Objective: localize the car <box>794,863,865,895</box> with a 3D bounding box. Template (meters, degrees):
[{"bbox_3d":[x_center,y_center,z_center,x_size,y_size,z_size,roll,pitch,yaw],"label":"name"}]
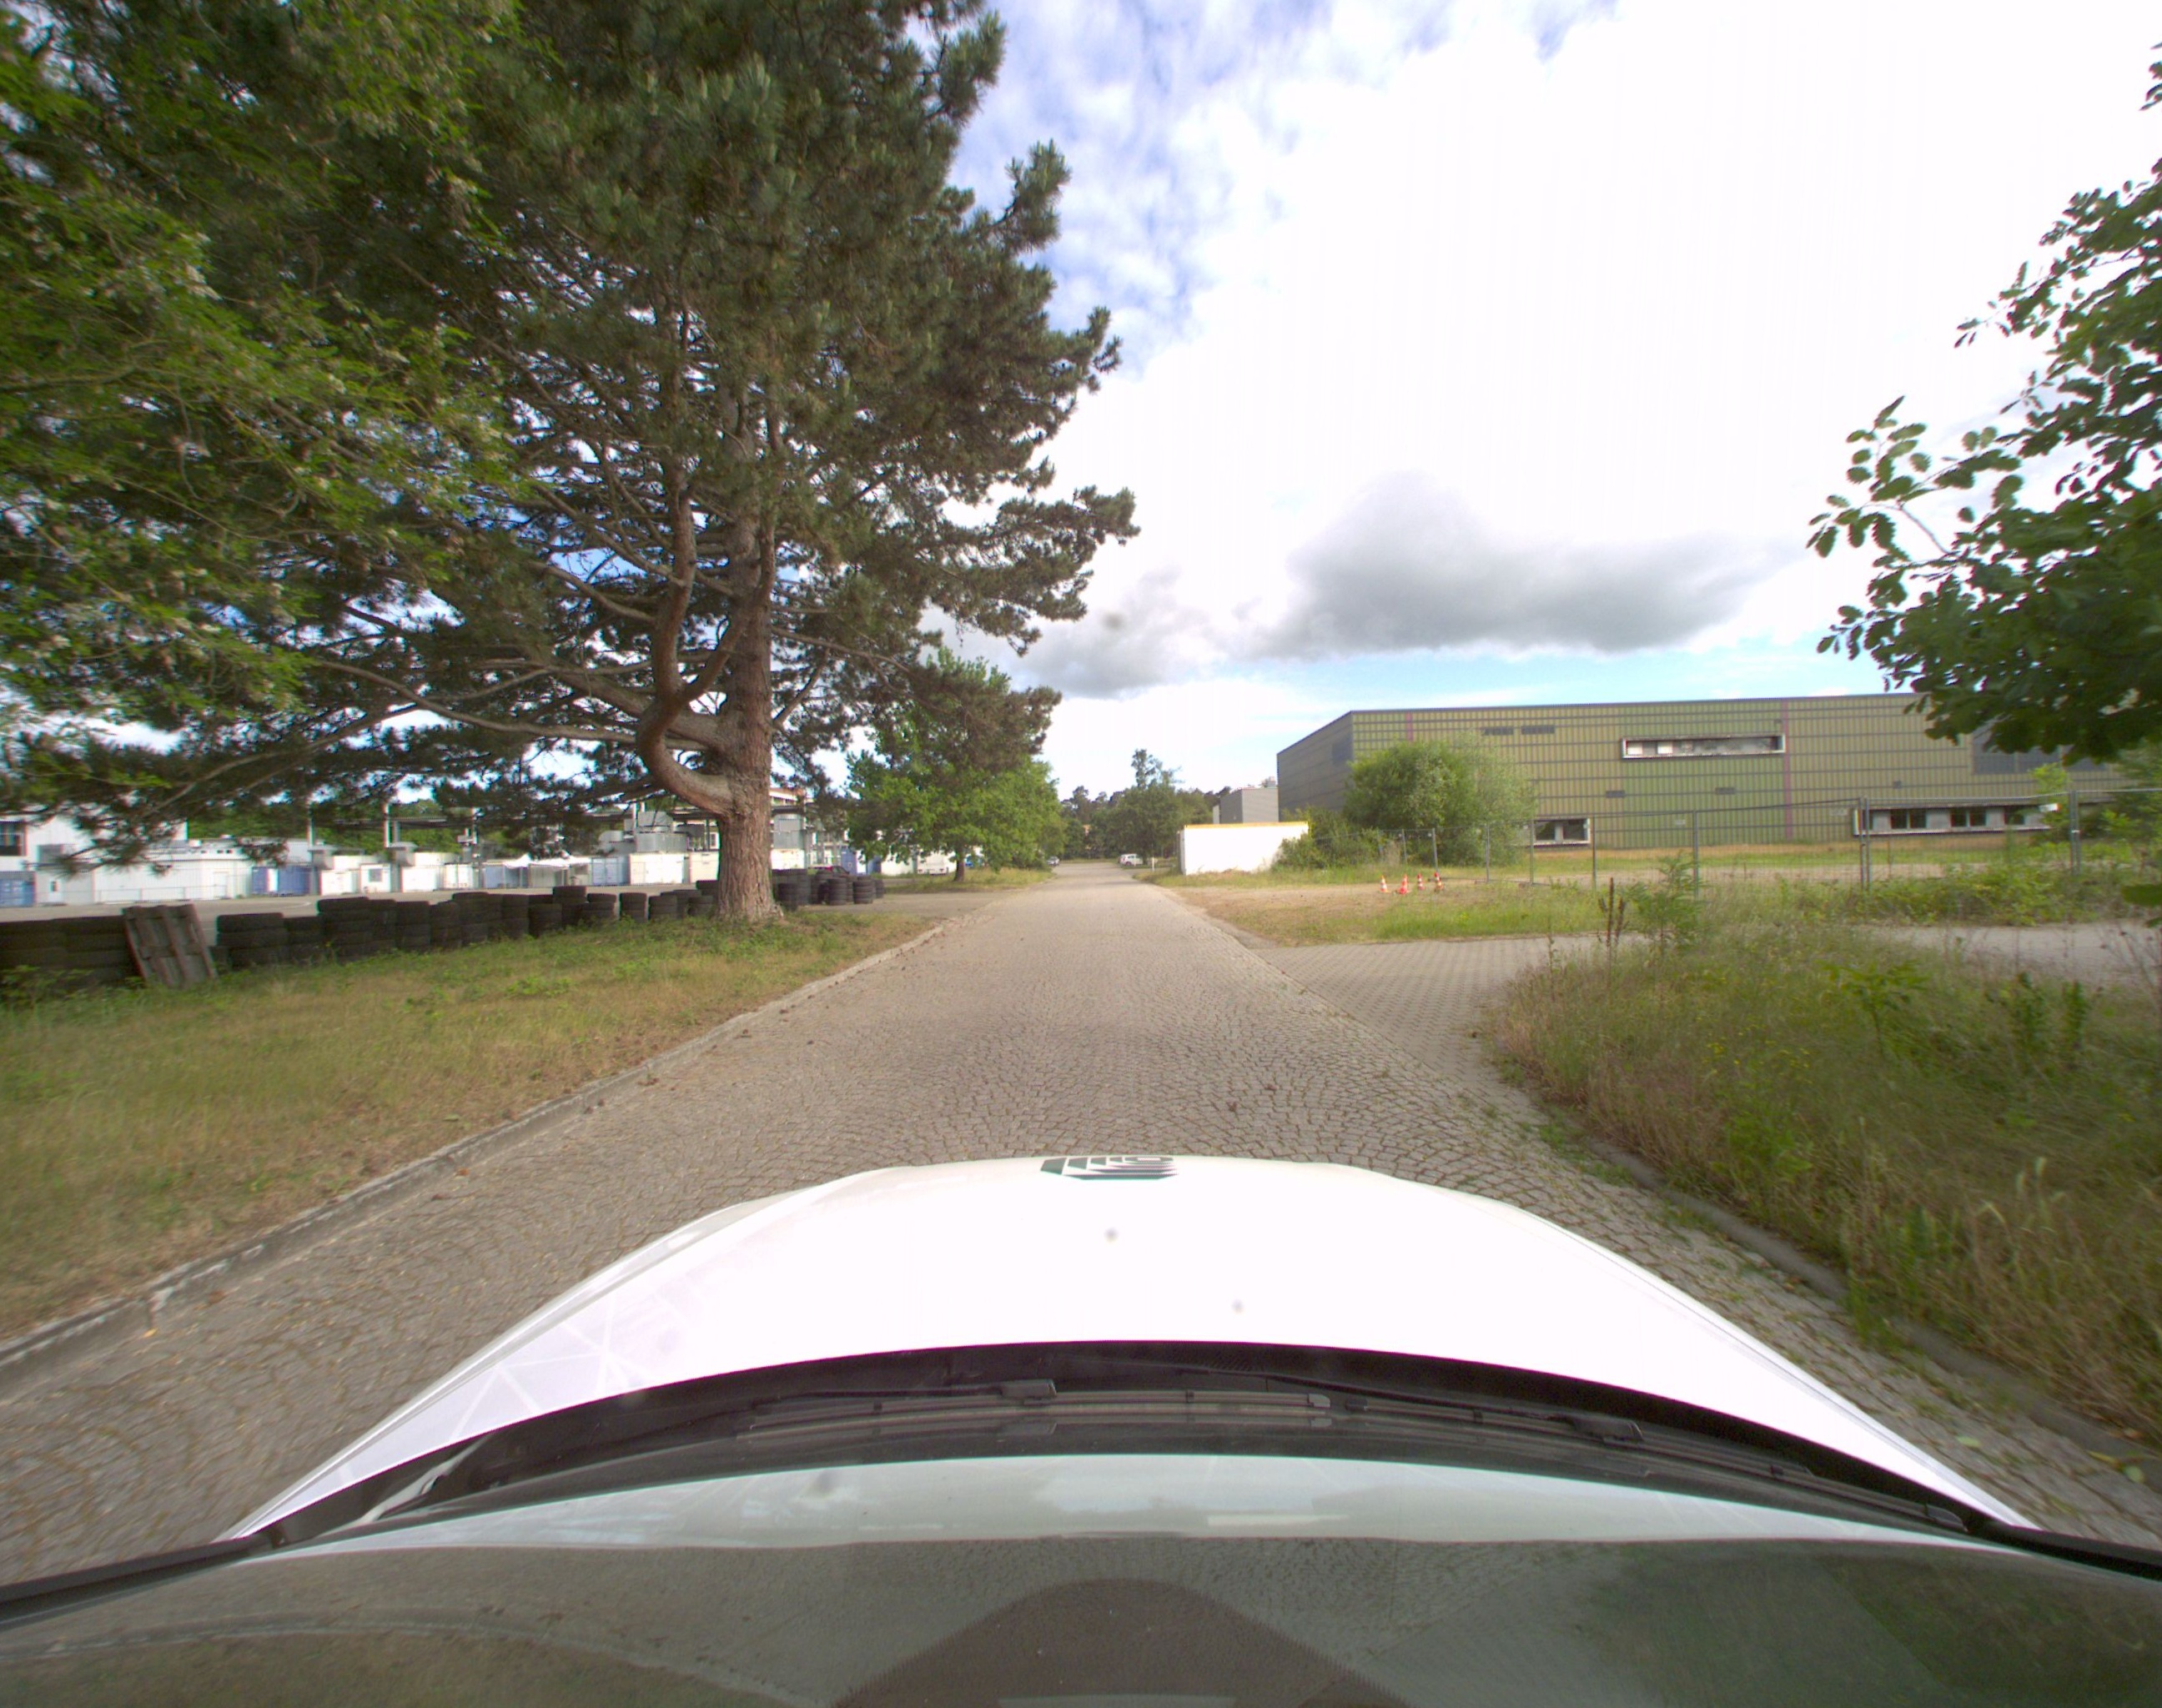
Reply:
[{"bbox_3d":[-12.658,1.214,41.223,1.814,1.431,4.227,-2,0,7],"label":"car"}]

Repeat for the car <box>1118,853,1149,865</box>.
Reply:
[{"bbox_3d":[7.038,0.696,108.850,3.973,1.455,1.698,-2,0,1],"label":"car"}]

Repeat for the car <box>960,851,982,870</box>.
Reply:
[{"bbox_3d":[-16.055,0.944,119.219,1.984,2.523,5.624,-2,0,4],"label":"car"}]

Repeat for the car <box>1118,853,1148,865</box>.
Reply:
[{"bbox_3d":[7.150,0.698,111.890,3.973,1.455,1.770,-2,0,1],"label":"car"}]

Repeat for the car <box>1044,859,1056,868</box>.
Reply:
[{"bbox_3d":[-4.966,1.455,130.732,1.744,1.364,3.998,-2,0,-1],"label":"car"}]

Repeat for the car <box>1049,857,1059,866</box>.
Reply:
[{"bbox_3d":[-4.667,1.328,140.964,1.744,1.454,3.998,-2,0,-1],"label":"car"}]

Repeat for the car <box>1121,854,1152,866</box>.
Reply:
[{"bbox_3d":[7.294,0.733,106.679,3.973,1.455,2.000,-1,-1,1],"label":"car"}]

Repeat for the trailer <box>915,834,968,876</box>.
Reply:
[{"bbox_3d":[-13.433,0.128,79.515,2.645,3.705,10.731,-2,0,3],"label":"trailer"}]
